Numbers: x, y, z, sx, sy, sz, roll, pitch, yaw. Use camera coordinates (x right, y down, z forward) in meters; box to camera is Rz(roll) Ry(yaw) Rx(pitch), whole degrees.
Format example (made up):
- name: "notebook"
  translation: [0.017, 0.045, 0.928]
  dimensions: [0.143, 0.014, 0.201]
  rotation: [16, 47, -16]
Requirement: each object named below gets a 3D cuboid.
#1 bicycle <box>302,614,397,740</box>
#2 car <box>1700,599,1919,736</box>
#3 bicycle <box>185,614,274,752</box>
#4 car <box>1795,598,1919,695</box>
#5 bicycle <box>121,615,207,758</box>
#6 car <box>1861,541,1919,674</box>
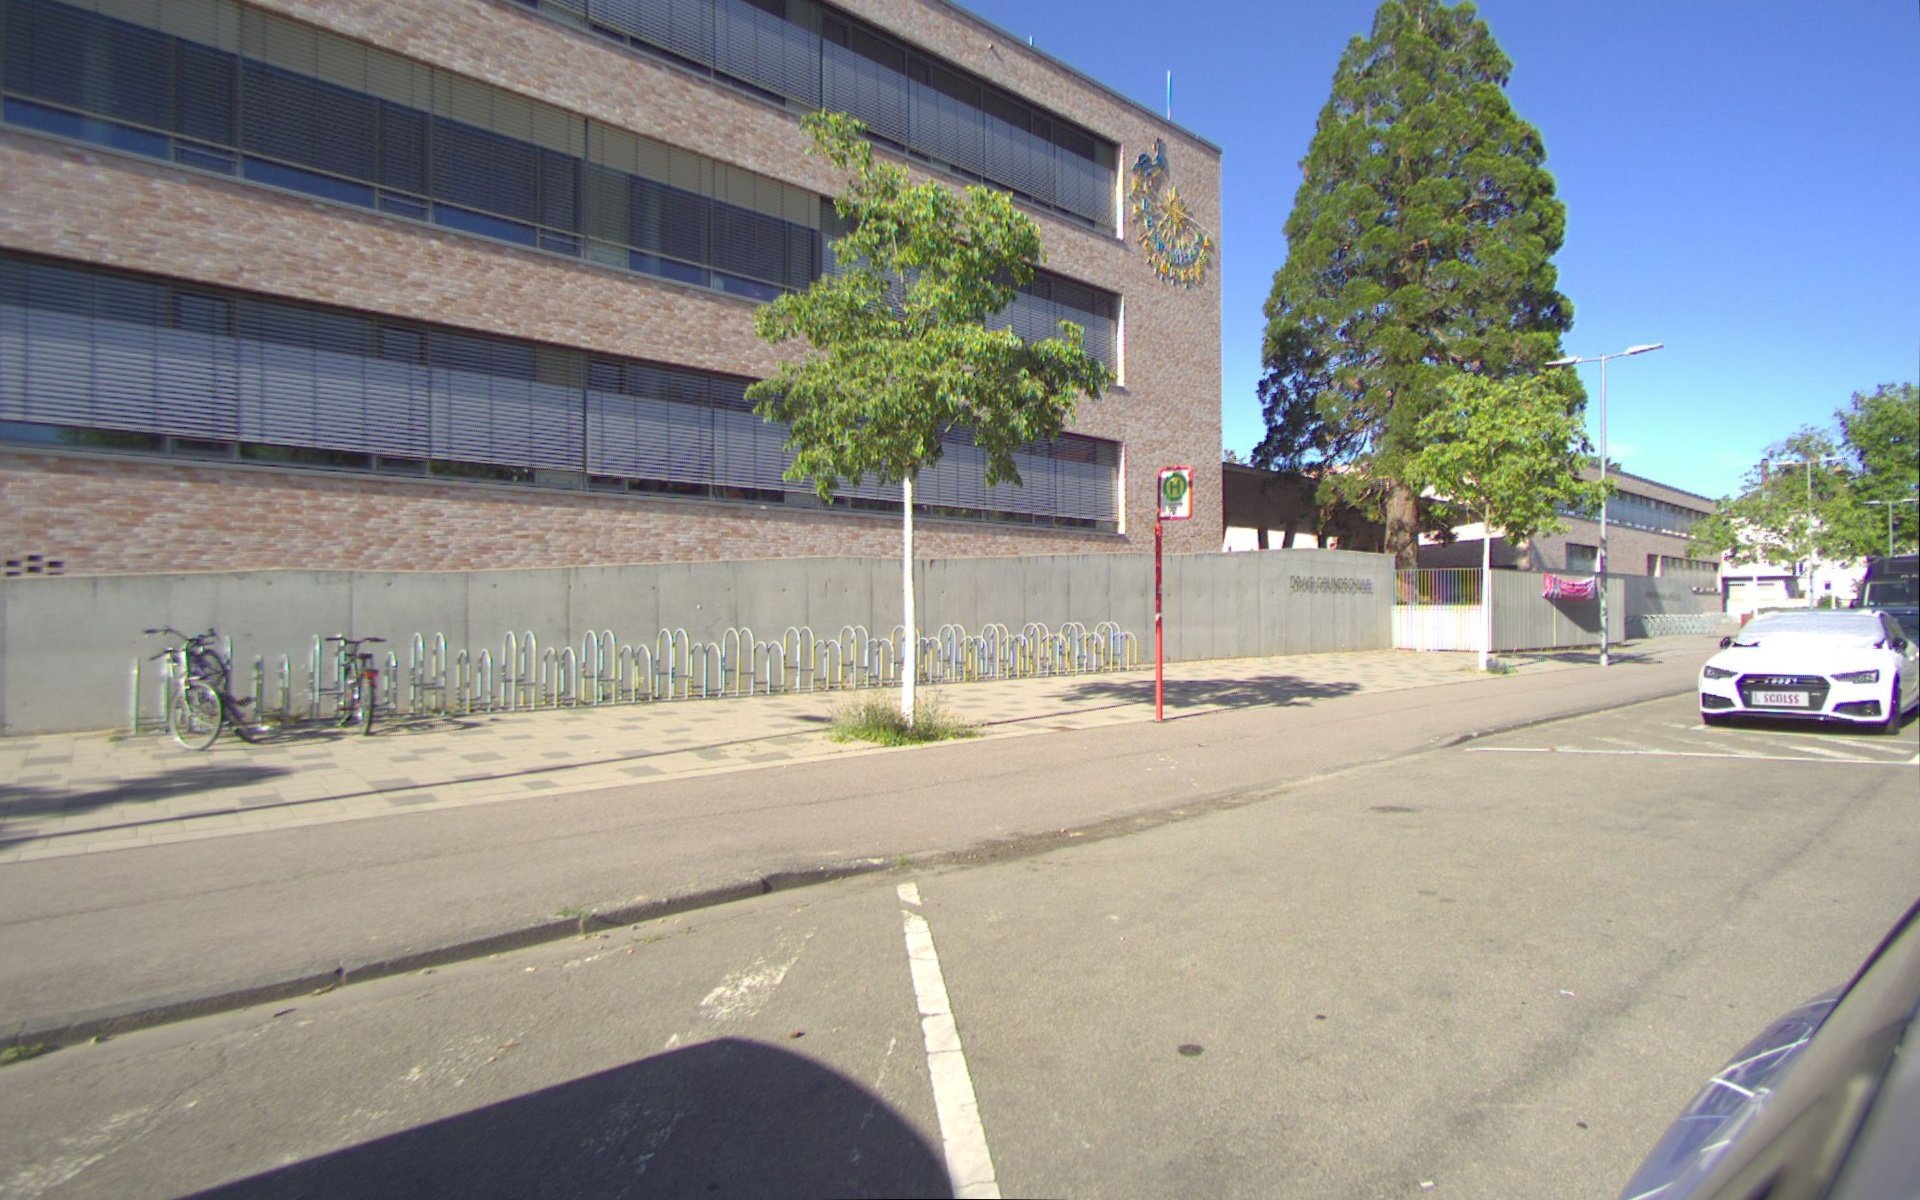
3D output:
- name: "bicycle"
  translation: [-6.325, 0.741, 10.449]
  dimensions: [0.491, 1.121, 1.797]
  rotation: [0, 1, -42]
- name: "car"
  translation: [11.124, 0.718, 12.898]
  dimensions: [4.577, 1.438, 1.797]
  rotation: [0, 0, -42]
- name: "bicycle"
  translation: [-7.014, 0.738, 9.687]
  dimensions: [0.491, 1.121, 1.797]
  rotation: [0, 1, -42]
- name: "car"
  translation: [15.761, 0.692, 16.932]
  dimensions: [4.554, 1.438, 1.997]
  rotation: [0, 0, -40]
- name: "bicycle"
  translation: [-7.384, 0.739, 9.356]
  dimensions: [0.491, 1.121, 1.797]
  rotation: [0, 1, -42]
- name: "car"
  translation: [20.871, 0.128, 21.360]
  dimensions: [6.420, 2.547, 2.118]
  rotation: [0, 0, -42]
